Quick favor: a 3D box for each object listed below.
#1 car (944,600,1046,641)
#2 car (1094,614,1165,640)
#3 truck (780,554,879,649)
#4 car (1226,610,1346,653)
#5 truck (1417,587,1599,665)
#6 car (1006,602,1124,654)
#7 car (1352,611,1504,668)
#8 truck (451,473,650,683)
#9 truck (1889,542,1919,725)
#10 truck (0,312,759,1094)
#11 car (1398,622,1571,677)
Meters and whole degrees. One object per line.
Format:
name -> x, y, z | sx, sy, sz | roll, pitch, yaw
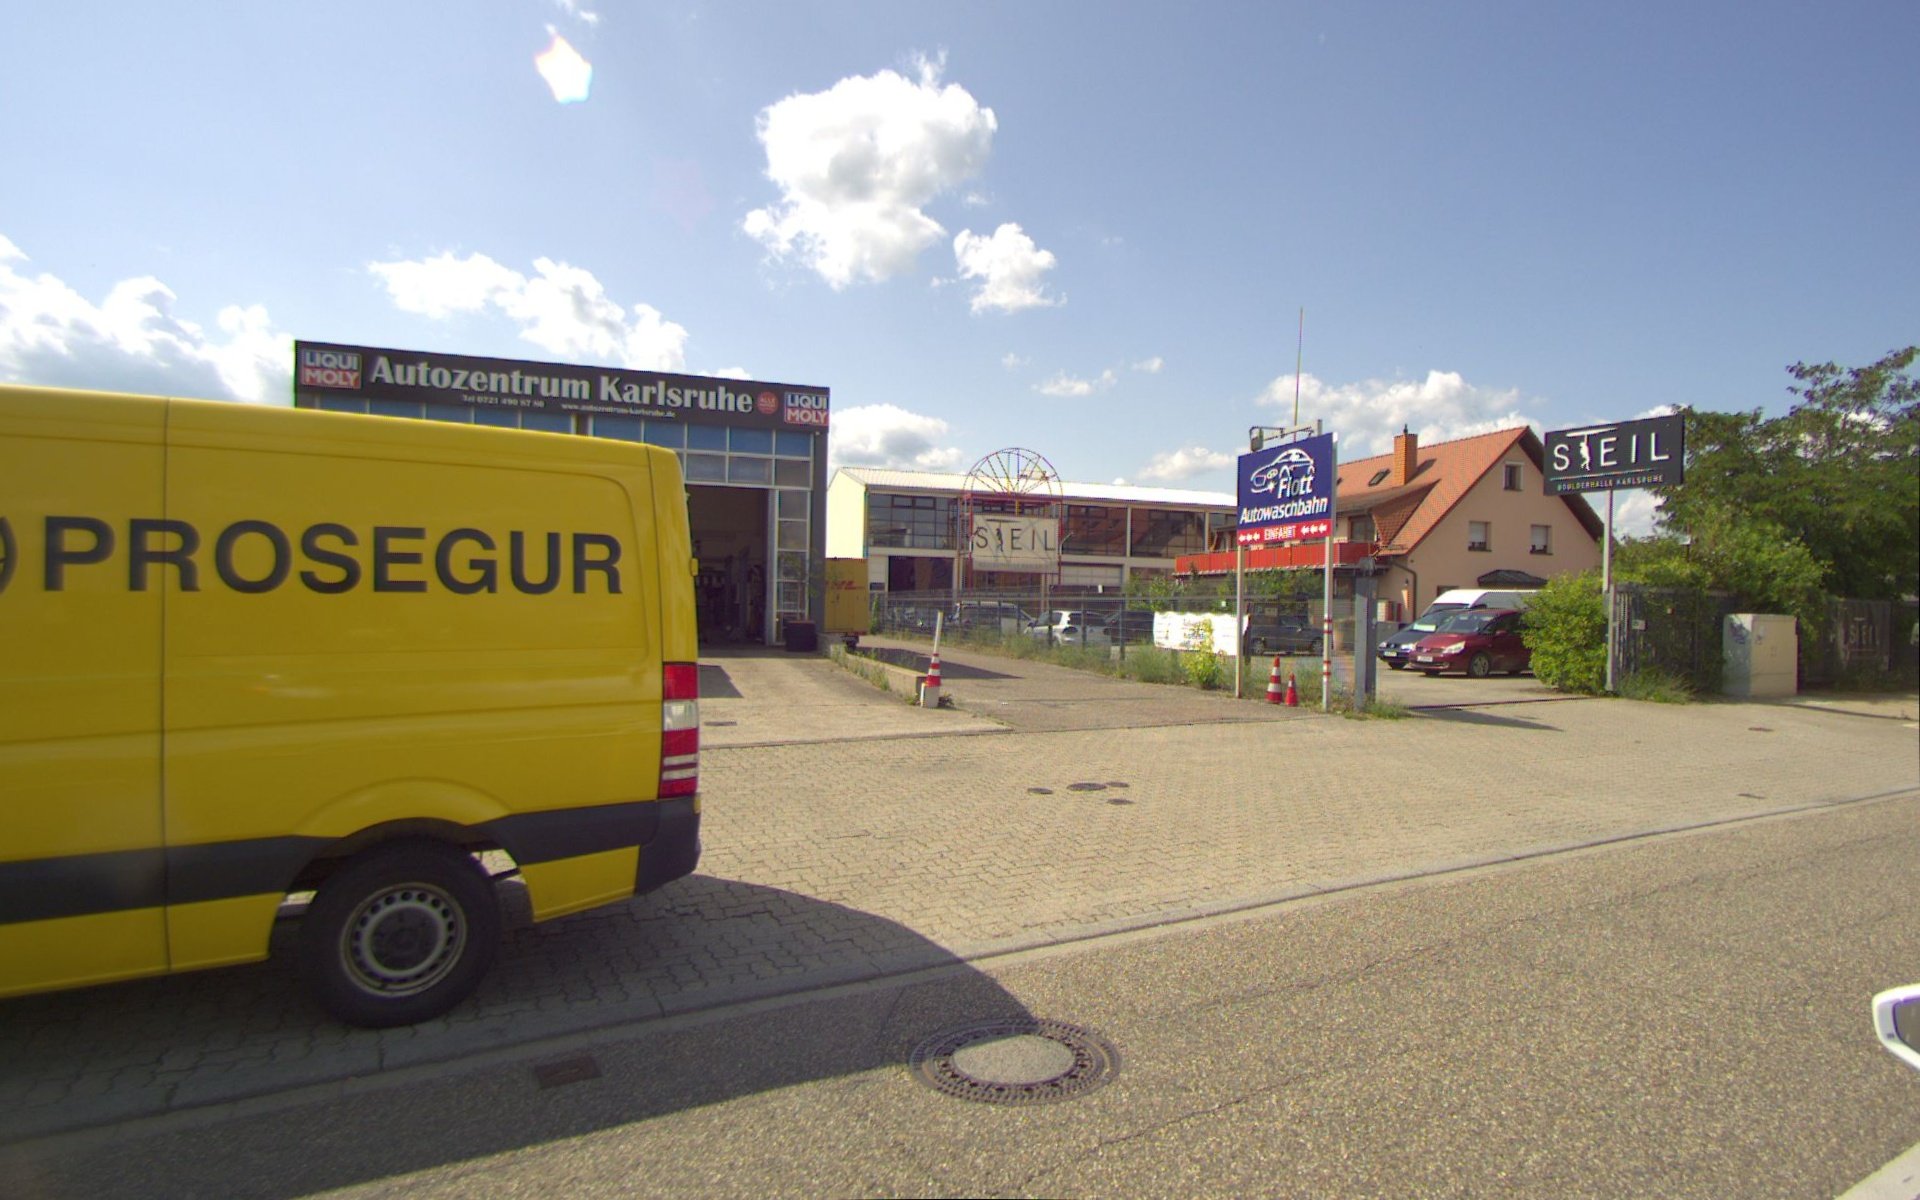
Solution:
car -> 1.810, 1.075, 52.397 | 5.092, 1.992, 1.857 | 1, 0, -5
car -> 8.182, 1.299, 48.633 | 3.156, 1.209, 1.251 | 1, 0, -16
truck -> -4.473, 0.093, 33.280 | 2.286, 2.802, 6.416 | 1, -1, -16
car -> 11.591, 1.127, 35.731 | 3.915, 1.447, 1.536 | 1, 0, -19
truck -> 18.841, 0.893, 34.559 | 5.627, 2.521, 2.110 | 1, 0, -17
car -> 3.120, 0.816, 30.614 | 1.833, 1.408, 3.977 | 3, -1, -23
car -> 13.663, 1.148, 29.371 | 3.854, 1.533, 1.764 | 1, 0, -18
truck -> -6.710, -0.293, 17.331 | 2.488, 2.888, 6.595 | 1, 0, -17
truck -> 18.663, 0.666, 17.066 | 7.092, 2.893, 2.257 | 2, 1, -31
truck -> -3.966, 0.310, 3.738 | 5.990, 2.446, 1.985 | 1, 0, -29
car -> 13.645, 1.254, 26.207 | 3.804, 1.322, 1.810 | 0, -1, -15
